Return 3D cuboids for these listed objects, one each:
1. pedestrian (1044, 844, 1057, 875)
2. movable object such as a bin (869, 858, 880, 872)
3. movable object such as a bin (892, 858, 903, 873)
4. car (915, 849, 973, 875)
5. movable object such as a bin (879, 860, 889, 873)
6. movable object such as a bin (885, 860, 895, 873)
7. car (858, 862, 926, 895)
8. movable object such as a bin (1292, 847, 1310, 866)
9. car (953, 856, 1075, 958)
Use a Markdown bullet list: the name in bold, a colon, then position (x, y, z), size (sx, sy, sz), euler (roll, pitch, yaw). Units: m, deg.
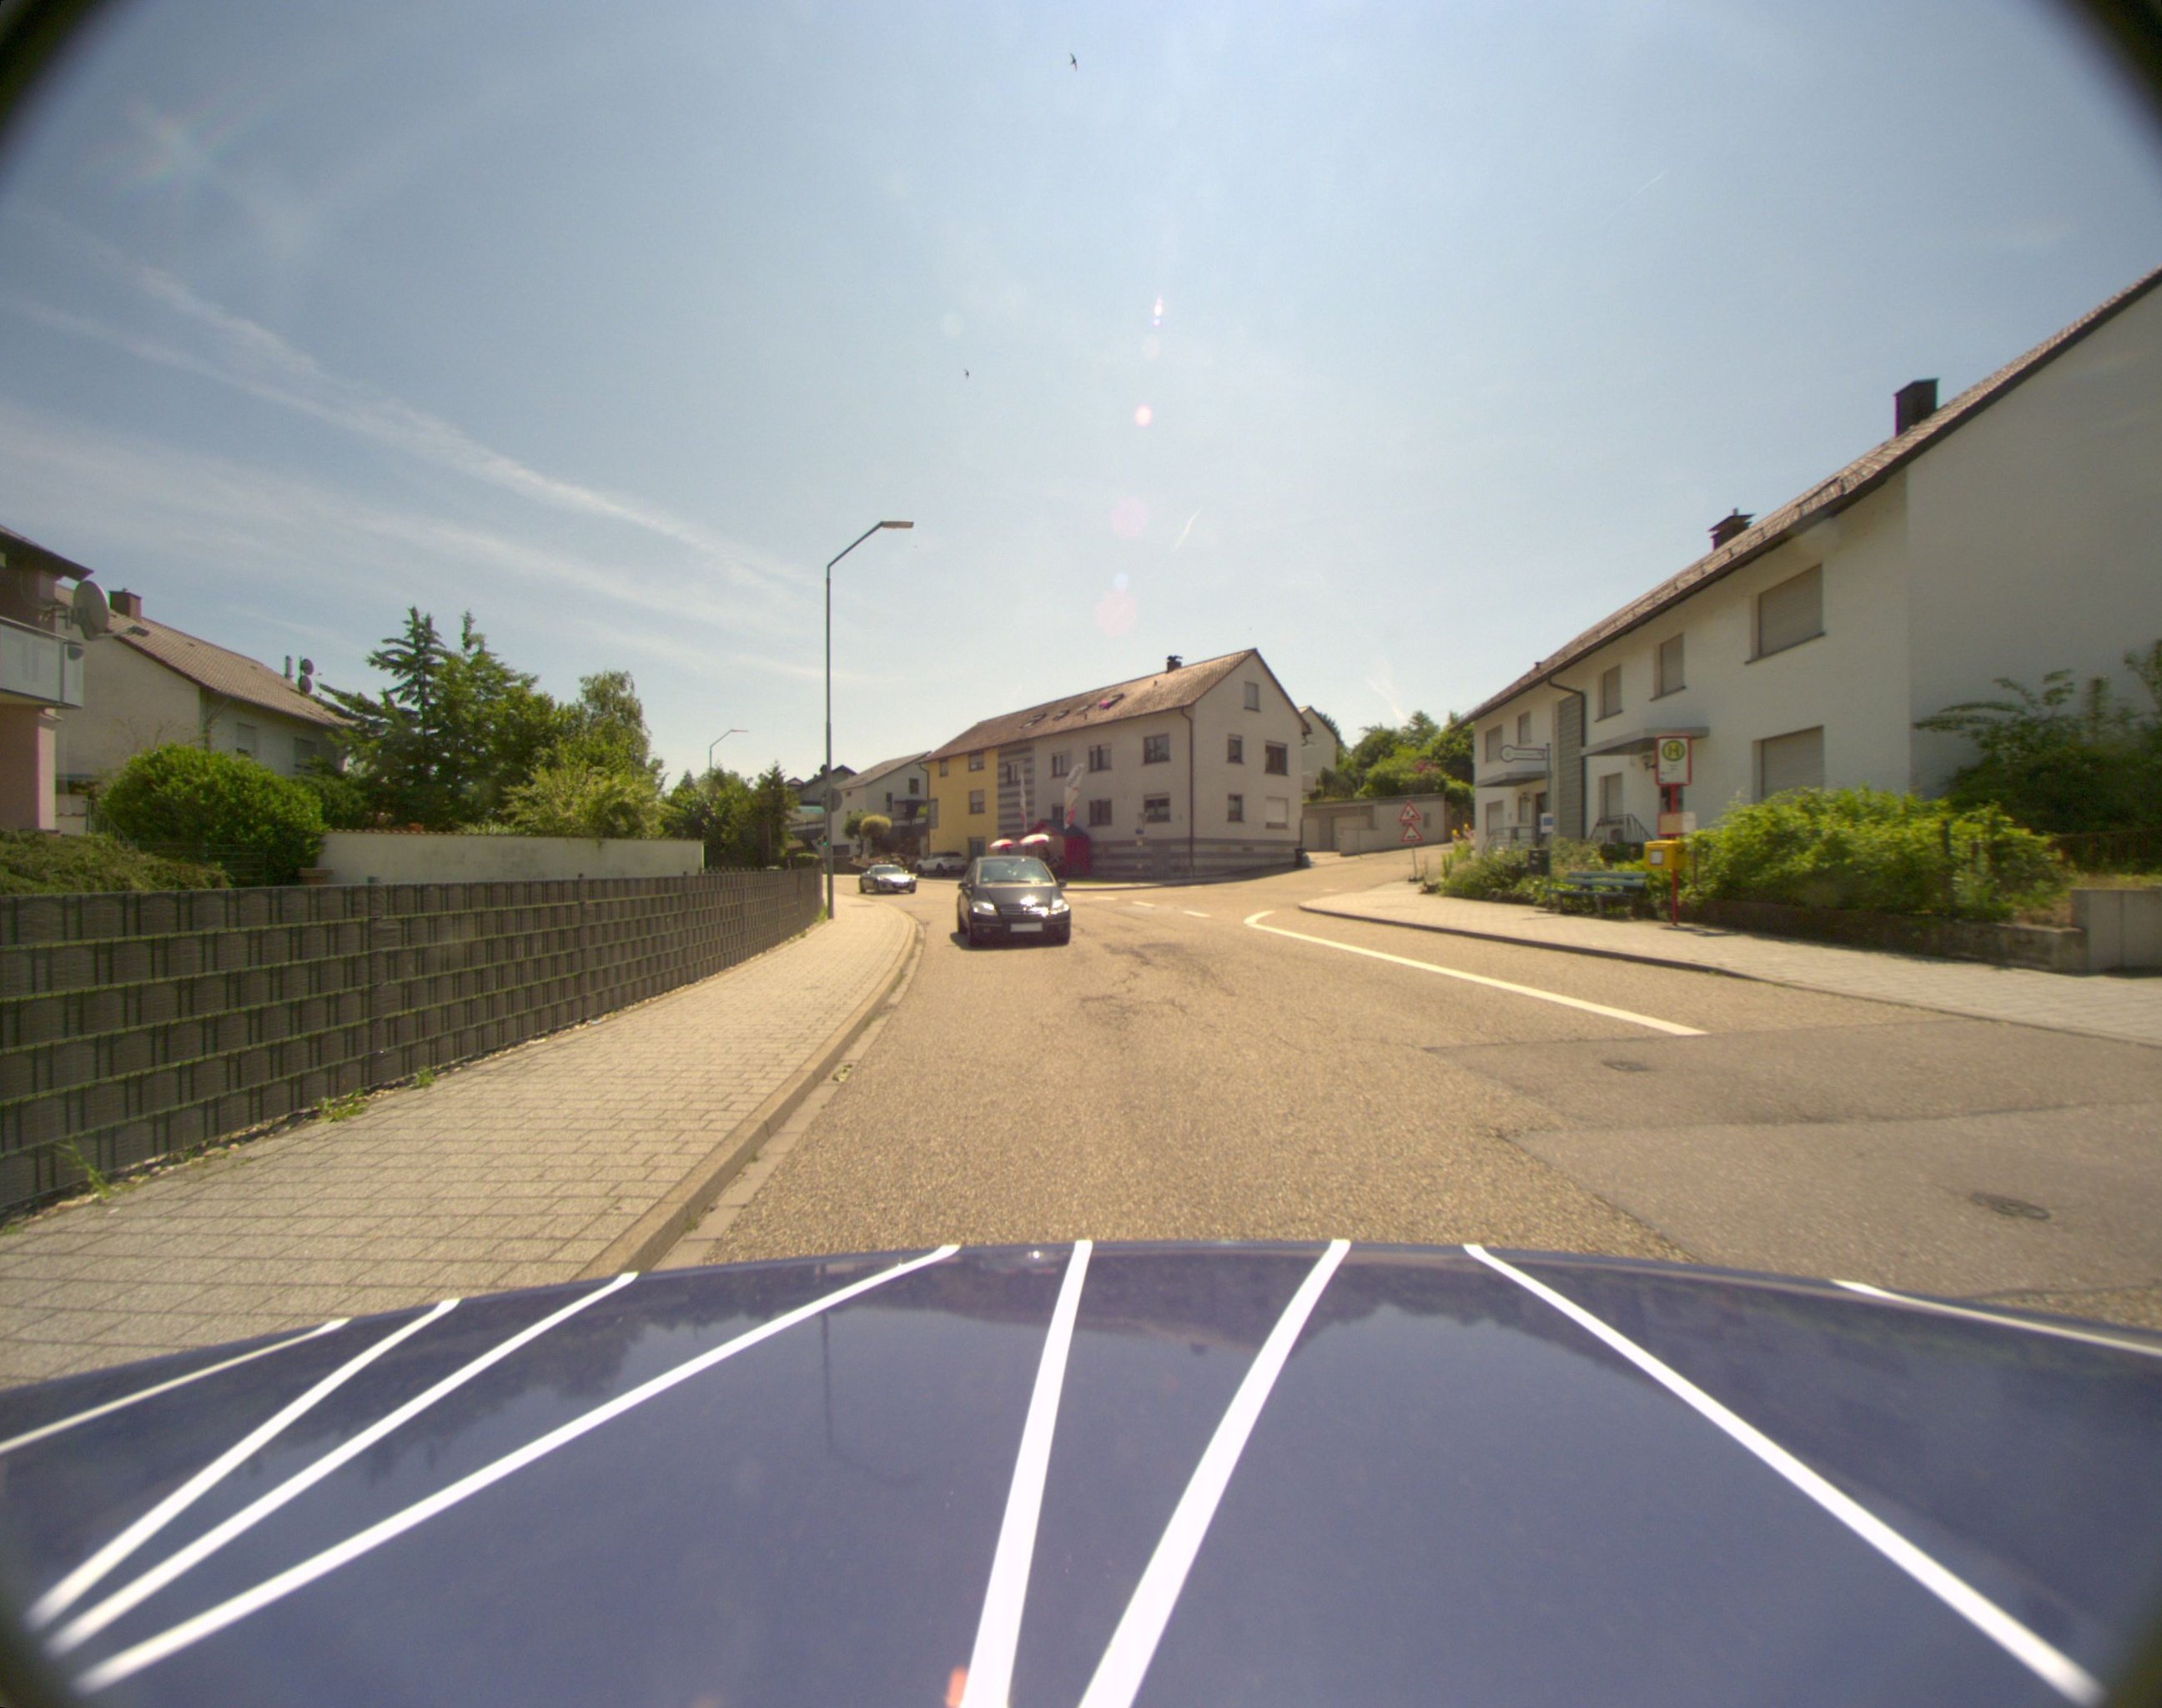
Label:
- **pedestrian**: position (-1.597, 0.267, 39.684), size (0.613, 1.578, 0.808), euler (-1, 1, -8)
- **movable object such as a bin**: position (-14.826, 0.774, 54.511), size (0.503, 0.942, 0.552), euler (-2, 1, -42)
- **movable object such as a bin**: position (-13.446, 0.820, 55.632), size (0.473, 1.049, 0.632), euler (-2, 2, -42)
- **car**: position (-8.680, 0.508, 47.821), size (1.739, 1.543, 4.177), euler (-1, 1, -40)
- **movable object such as a bin**: position (-14.273, 0.930, 54.961), size (0.449, 0.923, 0.560), euler (-2, 2, -42)
- **movable object such as a bin**: position (-13.905, 0.907, 55.324), size (0.449, 0.933, 0.529), euler (-2, 1, -42)
- **car**: position (-8.401, 1.041, 33.515), size (1.818, 1.306, 3.990), euler (-1, 0, -31)
- **movable object such as a bin**: position (10.610, 0.123, 36.577), size (0.601, 0.928, 0.599), euler (-1, 1, -43)
- **car**: position (-1.448, 0.875, 14.685), size (1.766, 1.583, 4.192), euler (-1, 1, -13)
